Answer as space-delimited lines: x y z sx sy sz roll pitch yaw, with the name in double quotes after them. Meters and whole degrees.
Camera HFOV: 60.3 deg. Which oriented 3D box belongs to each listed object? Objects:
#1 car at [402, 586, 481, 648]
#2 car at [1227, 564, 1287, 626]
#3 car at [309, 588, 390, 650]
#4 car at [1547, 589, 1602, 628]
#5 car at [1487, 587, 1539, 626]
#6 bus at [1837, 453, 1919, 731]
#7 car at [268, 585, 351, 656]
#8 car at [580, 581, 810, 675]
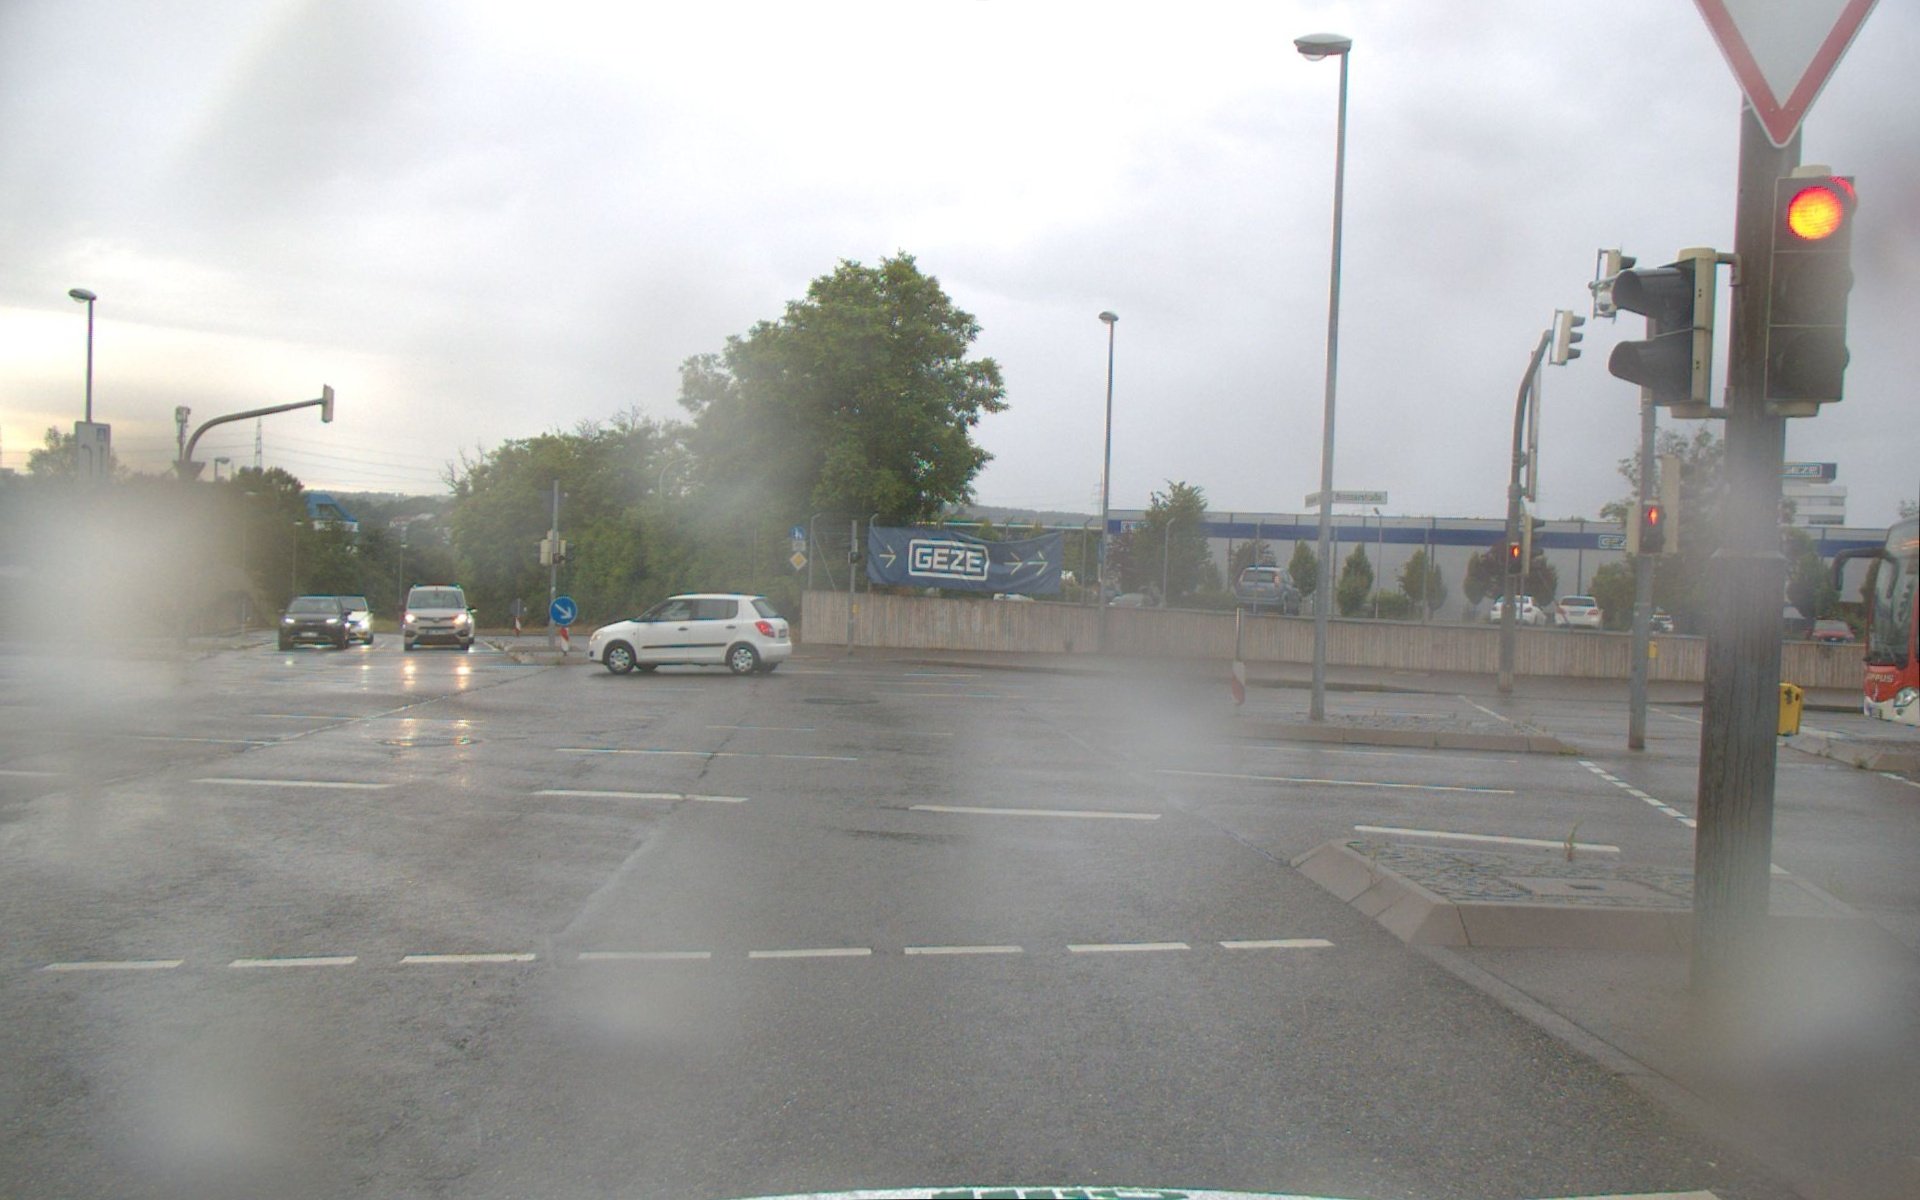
-14.848 0.458 47.509 1.961 1.646 3.984 1 1 -15 "car"
10.392 -0.181 57.860 1.951 2.049 4.003 1 0 11 "car"
-20.305 0.595 55.158 1.959 1.928 3.988 1 1 -12 "car"
25.255 0.316 68.078 1.952 1.504 4.002 2 1 19 "car"
22.958 0.246 68.666 1.952 1.504 4.001 2 1 19 "car"
17.642 0.164 19.910 12.020 3.379 3.076 3 1 17 "bus"
-18.722 0.557 47.758 1.963 1.928 3.979 1 0 -19 "car"
-5.048 0.504 31.814 3.902 1.624 1.959 2 1 9 "car"
